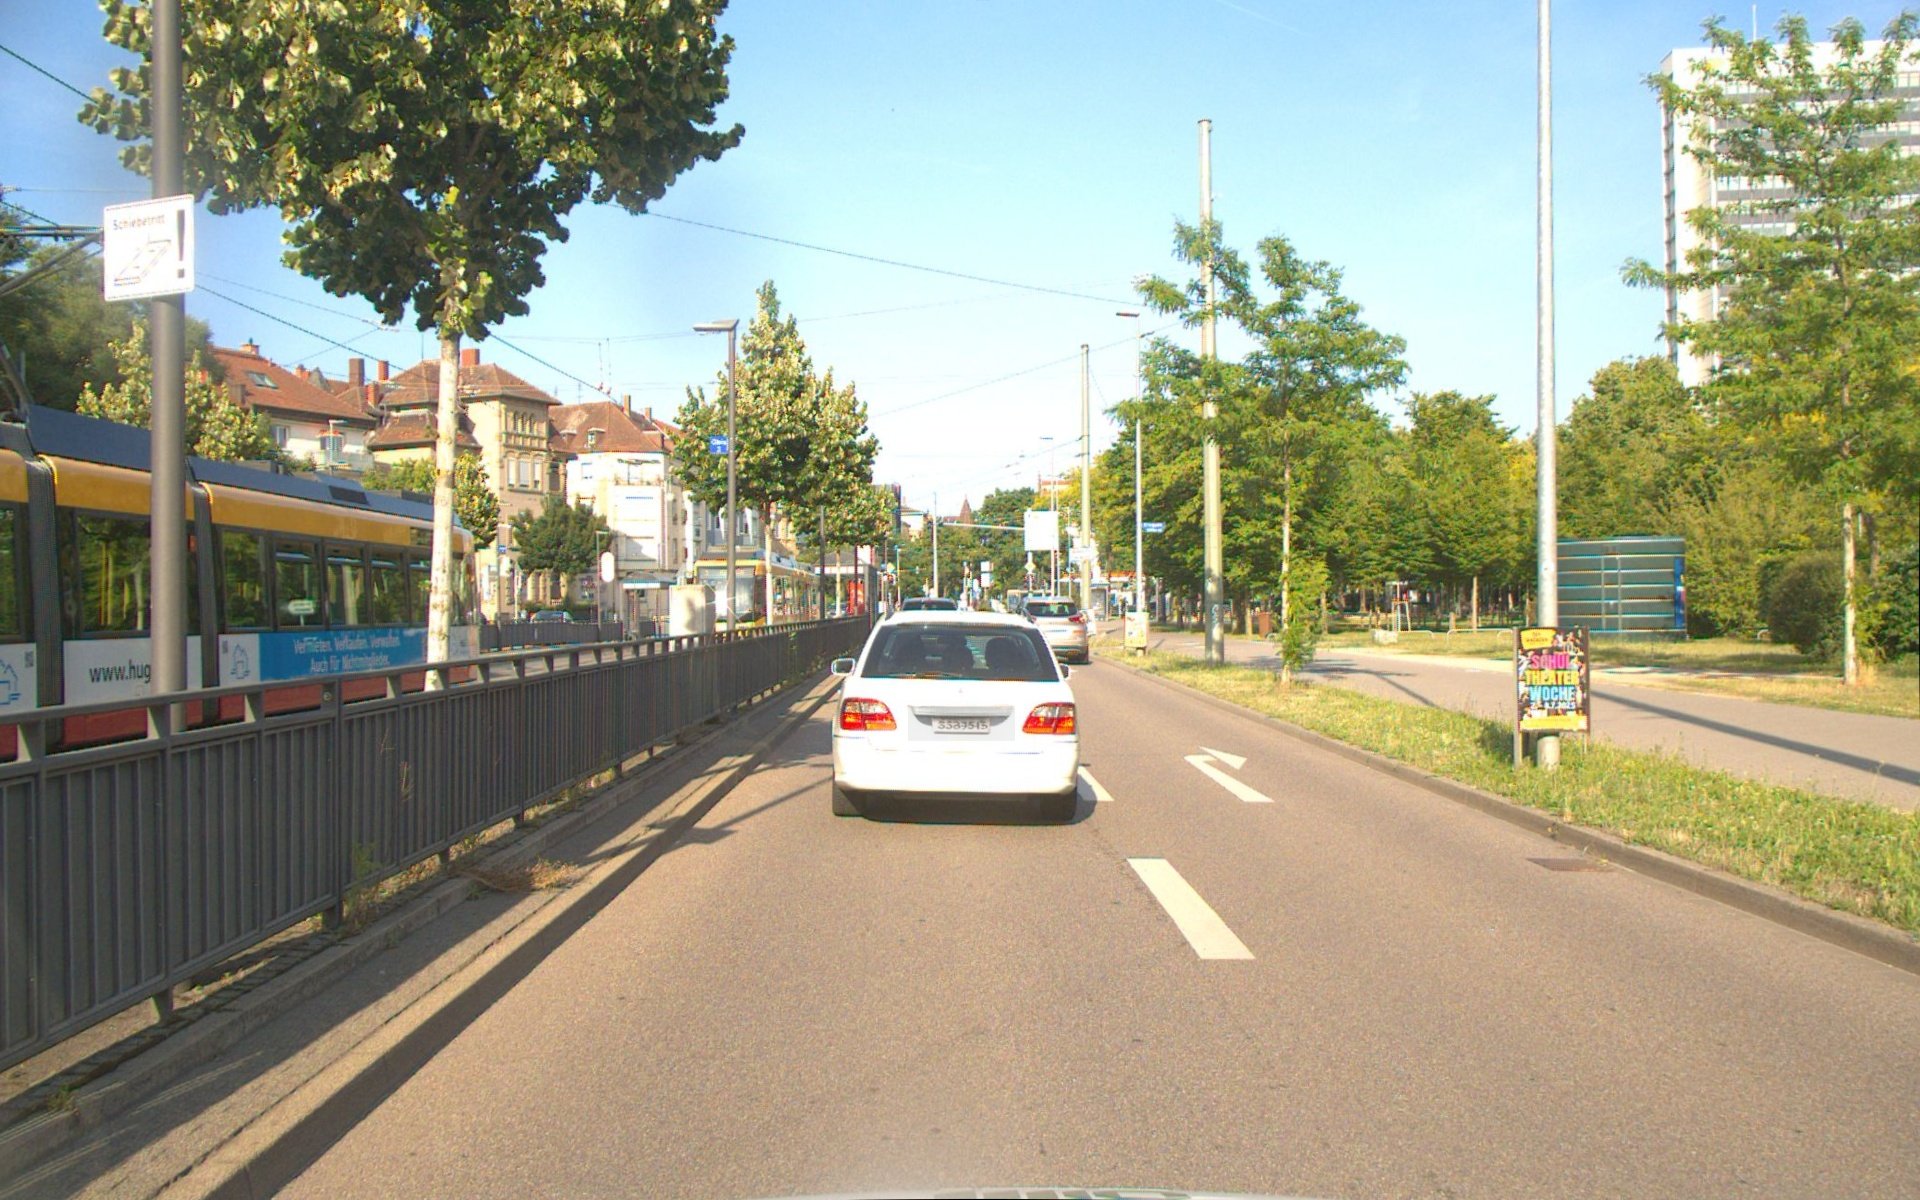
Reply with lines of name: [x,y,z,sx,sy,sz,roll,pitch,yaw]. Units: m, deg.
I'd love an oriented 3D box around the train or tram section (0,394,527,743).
train or tram section: [-9.655,-0.371,24.050,3.097,3.540,14.469,0,0,-1]

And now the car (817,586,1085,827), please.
car: [0.038,0.750,12.732,1.721,1.530,4.001,1,-2,3]

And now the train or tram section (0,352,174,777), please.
train or tram section: [-9.491,-0.270,9.600,3.097,3.540,14.530,0,0,-1]

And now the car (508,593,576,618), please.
car: [-28.419,0.339,112.598,2.158,1.656,4.716,0,0,22]

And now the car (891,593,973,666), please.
car: [-0.656,0.695,41.244,1.750,1.719,4.002,0,0,3]

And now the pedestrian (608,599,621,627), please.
pedestrian: [-22.264,0.820,106.601,0.651,1.784,0.746,0,0,3]

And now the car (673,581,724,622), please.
car: [-18.088,0.078,114.635,2.544,2.783,7.466,0,0,-1]

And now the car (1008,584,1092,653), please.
car: [2.243,0.433,41.271,1.990,1.633,4.002,0,0,3]

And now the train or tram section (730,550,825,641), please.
train or tram section: [-7.655,-0.211,71.158,2.791,3.540,13.198,0,0,-1]

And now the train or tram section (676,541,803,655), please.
train or tram section: [-7.491,-0.123,58.096,2.791,3.540,13.198,1,1,-1]
